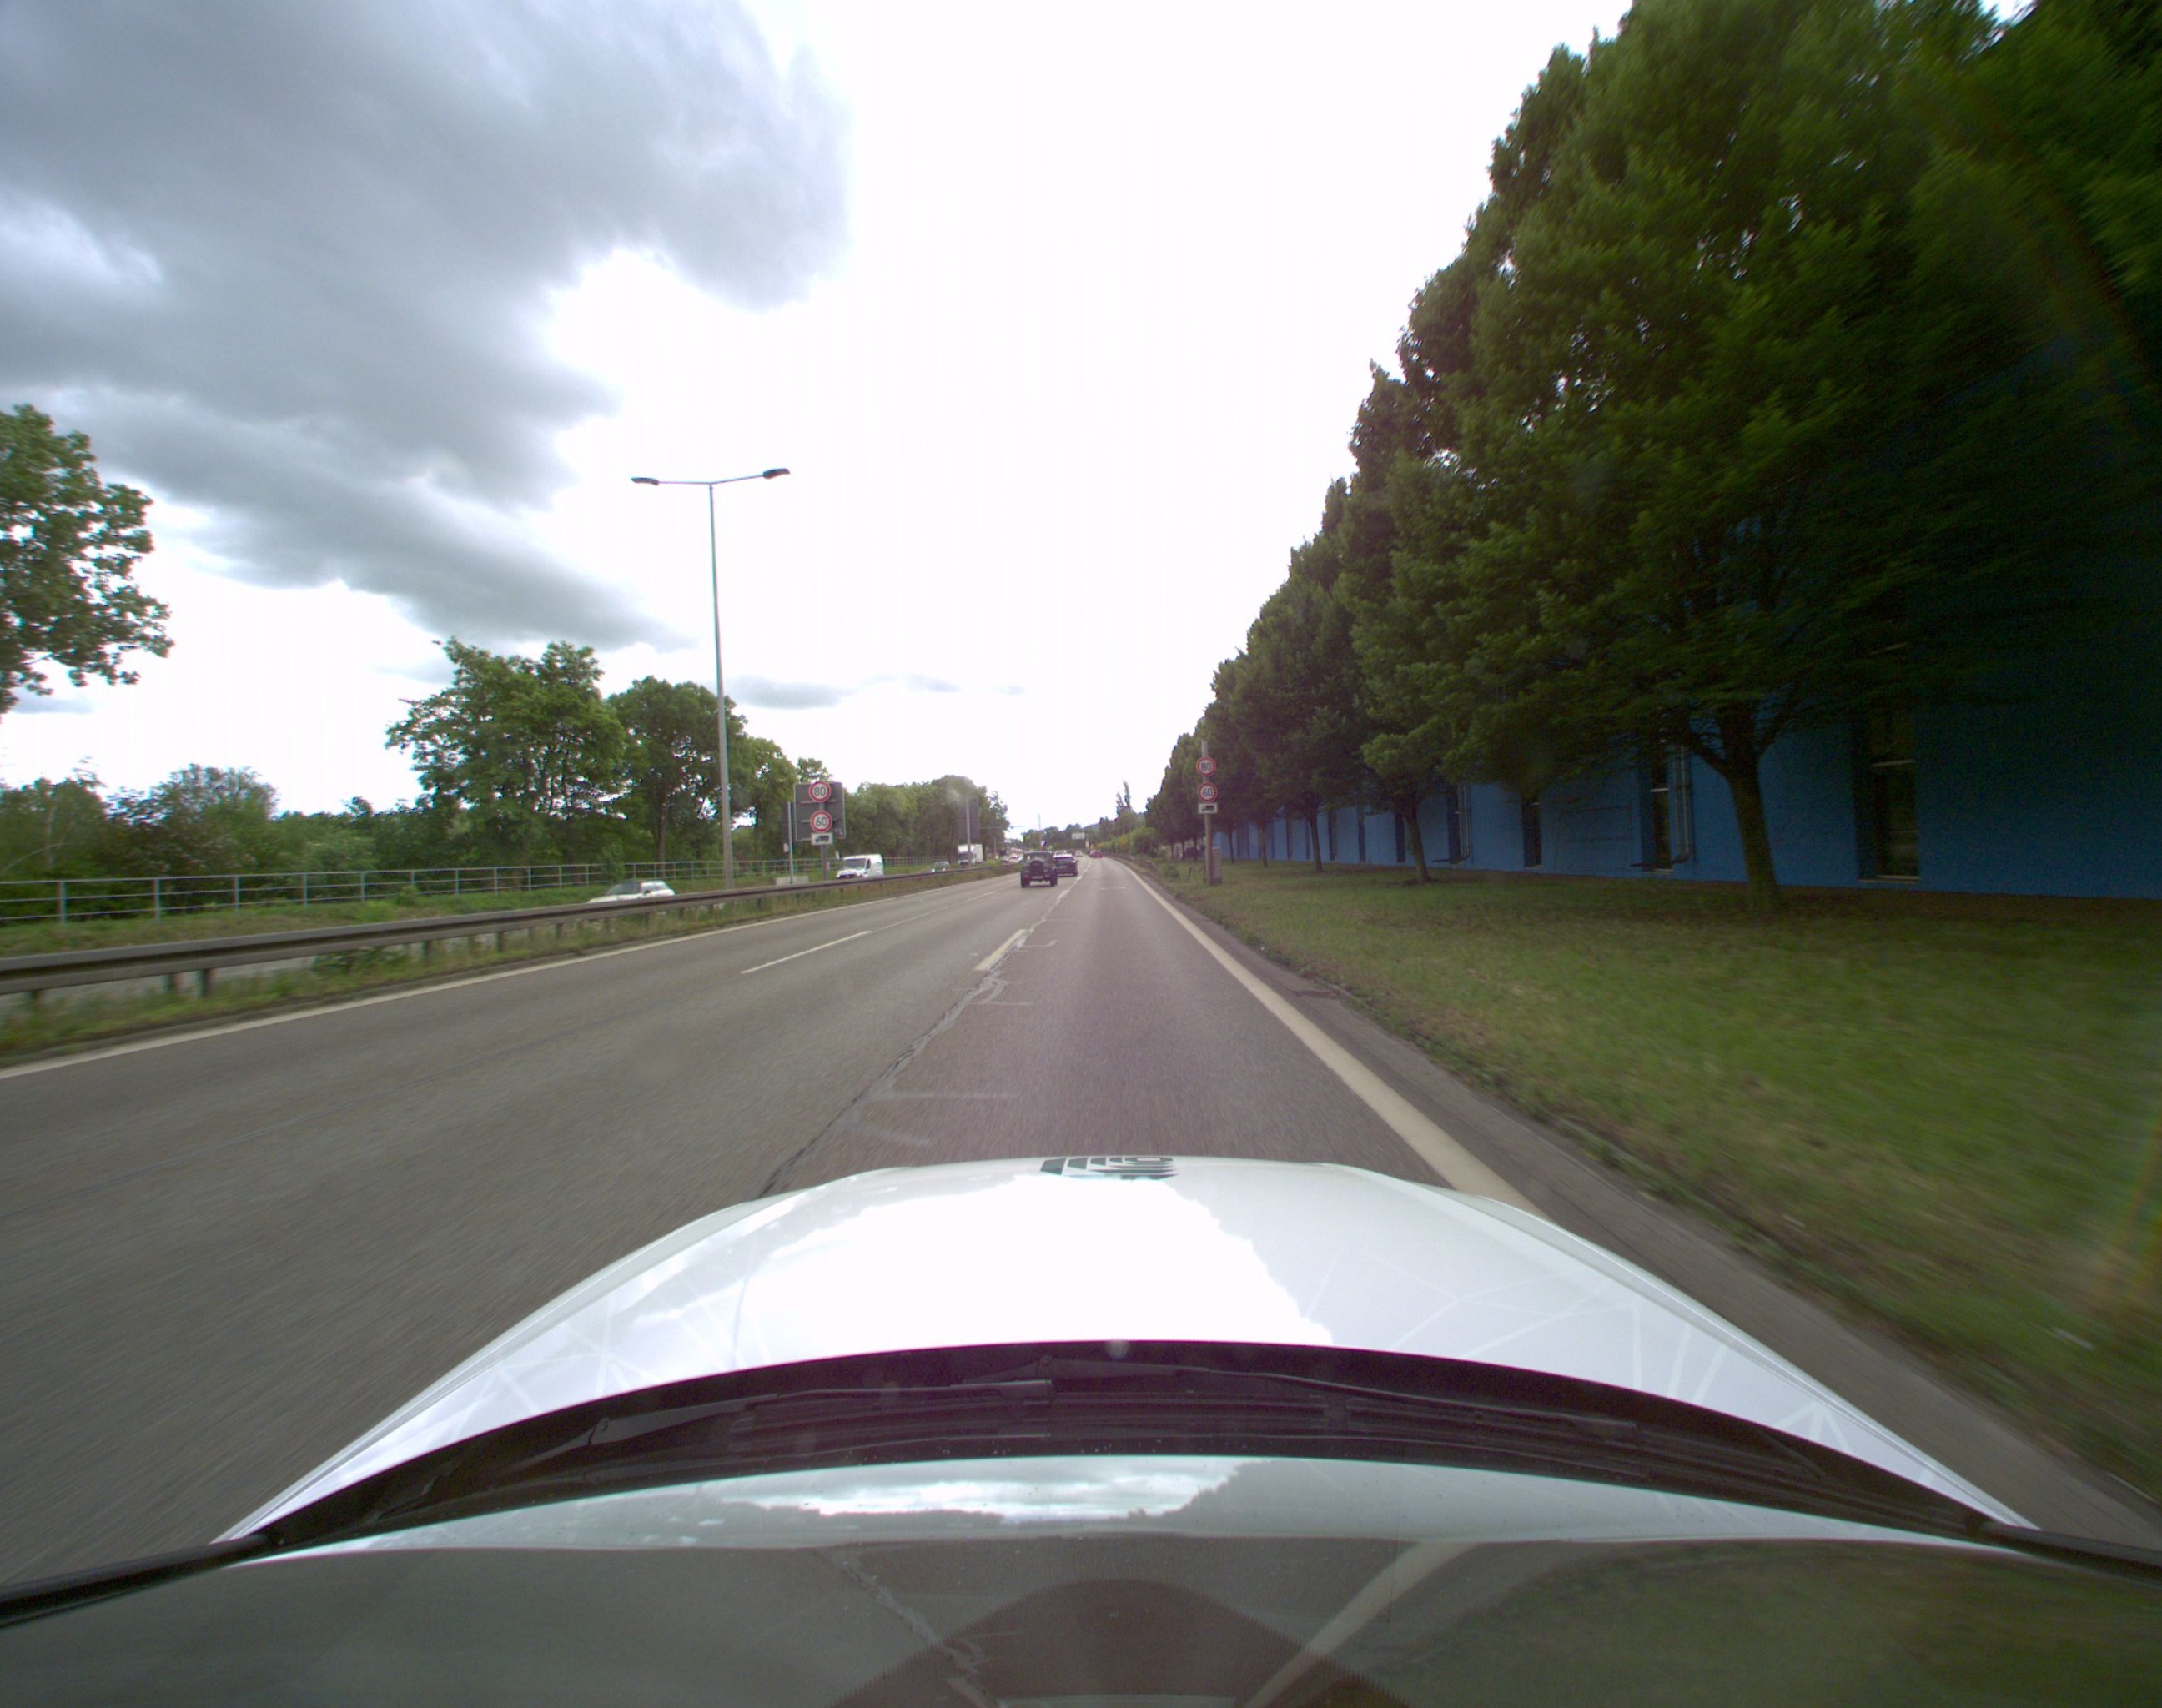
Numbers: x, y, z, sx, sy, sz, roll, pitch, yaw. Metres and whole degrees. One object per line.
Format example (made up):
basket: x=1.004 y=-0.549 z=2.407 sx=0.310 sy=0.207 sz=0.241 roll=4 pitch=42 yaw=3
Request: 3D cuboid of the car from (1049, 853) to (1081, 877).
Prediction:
car: x=-1.033 y=0.696 z=54.524 sx=1.838 sy=1.423 sz=4.902 roll=-2 pitch=0 yaw=2

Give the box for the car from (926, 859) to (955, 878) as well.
car: x=-13.751 y=1.380 z=79.867 sx=1.870 sy=1.724 sz=4.151 roll=-2 pitch=0 yaw=4

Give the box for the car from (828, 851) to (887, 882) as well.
car: x=-15.611 y=0.808 z=57.195 sx=2.216 sy=1.948 sz=5.480 roll=-3 pitch=0 yaw=4

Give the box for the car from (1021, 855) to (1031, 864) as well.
car: x=-12.100 y=1.205 z=180.267 sx=1.691 sy=1.605 sz=4.540 roll=-5 pitch=0 yaw=2

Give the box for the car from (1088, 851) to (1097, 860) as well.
car: x=2.545 y=0.368 z=177.379 sx=1.691 sy=1.742 sz=4.394 roll=-3 pitch=0 yaw=1

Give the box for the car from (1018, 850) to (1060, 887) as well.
car: x=-2.025 y=0.671 z=40.117 sx=1.691 sy=1.686 sz=4.002 roll=-2 pitch=0 yaw=2

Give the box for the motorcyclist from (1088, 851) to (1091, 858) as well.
motorcyclist: x=2.042 y=0.094 z=199.341 sx=0.788 sy=1.760 sz=0.923 roll=-2 pitch=0 yaw=1

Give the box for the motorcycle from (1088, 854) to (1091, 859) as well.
motorcycle: x=2.050 y=0.672 z=199.352 sx=0.788 sy=1.219 sz=2.330 roll=-2 pitch=0 yaw=1

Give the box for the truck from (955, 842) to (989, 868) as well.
truck: x=-15.855 y=0.178 z=119.544 sx=2.876 sy=3.578 sz=9.597 roll=-3 pitch=0 yaw=4

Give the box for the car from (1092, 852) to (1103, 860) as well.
car: x=3.158 y=0.345 z=156.352 sx=1.968 sy=1.423 sz=4.899 roll=-4 pitch=0 yaw=0

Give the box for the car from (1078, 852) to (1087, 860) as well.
car: x=0.407 y=0.457 z=211.303 sx=2.010 sy=1.934 sz=4.893 roll=-4 pitch=0 yaw=-4

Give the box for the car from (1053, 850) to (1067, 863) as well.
car: x=-2.885 y=0.297 z=114.416 sx=1.692 sy=1.742 sz=4.000 roll=-3 pitch=0 yaw=1

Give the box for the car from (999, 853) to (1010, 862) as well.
car: x=-16.118 y=0.707 z=171.834 sx=1.720 sy=1.605 sz=4.044 roll=-5 pitch=0 yaw=2

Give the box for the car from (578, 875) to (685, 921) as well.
car: x=-16.772 y=1.597 z=30.640 sx=1.653 sy=1.398 sz=3.991 roll=-2 pitch=0 yaw=2

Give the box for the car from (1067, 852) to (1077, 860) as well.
car: x=-2.590 y=0.602 z=227.732 sx=2.012 sy=1.934 sz=4.888 roll=-4 pitch=0 yaw=-7
